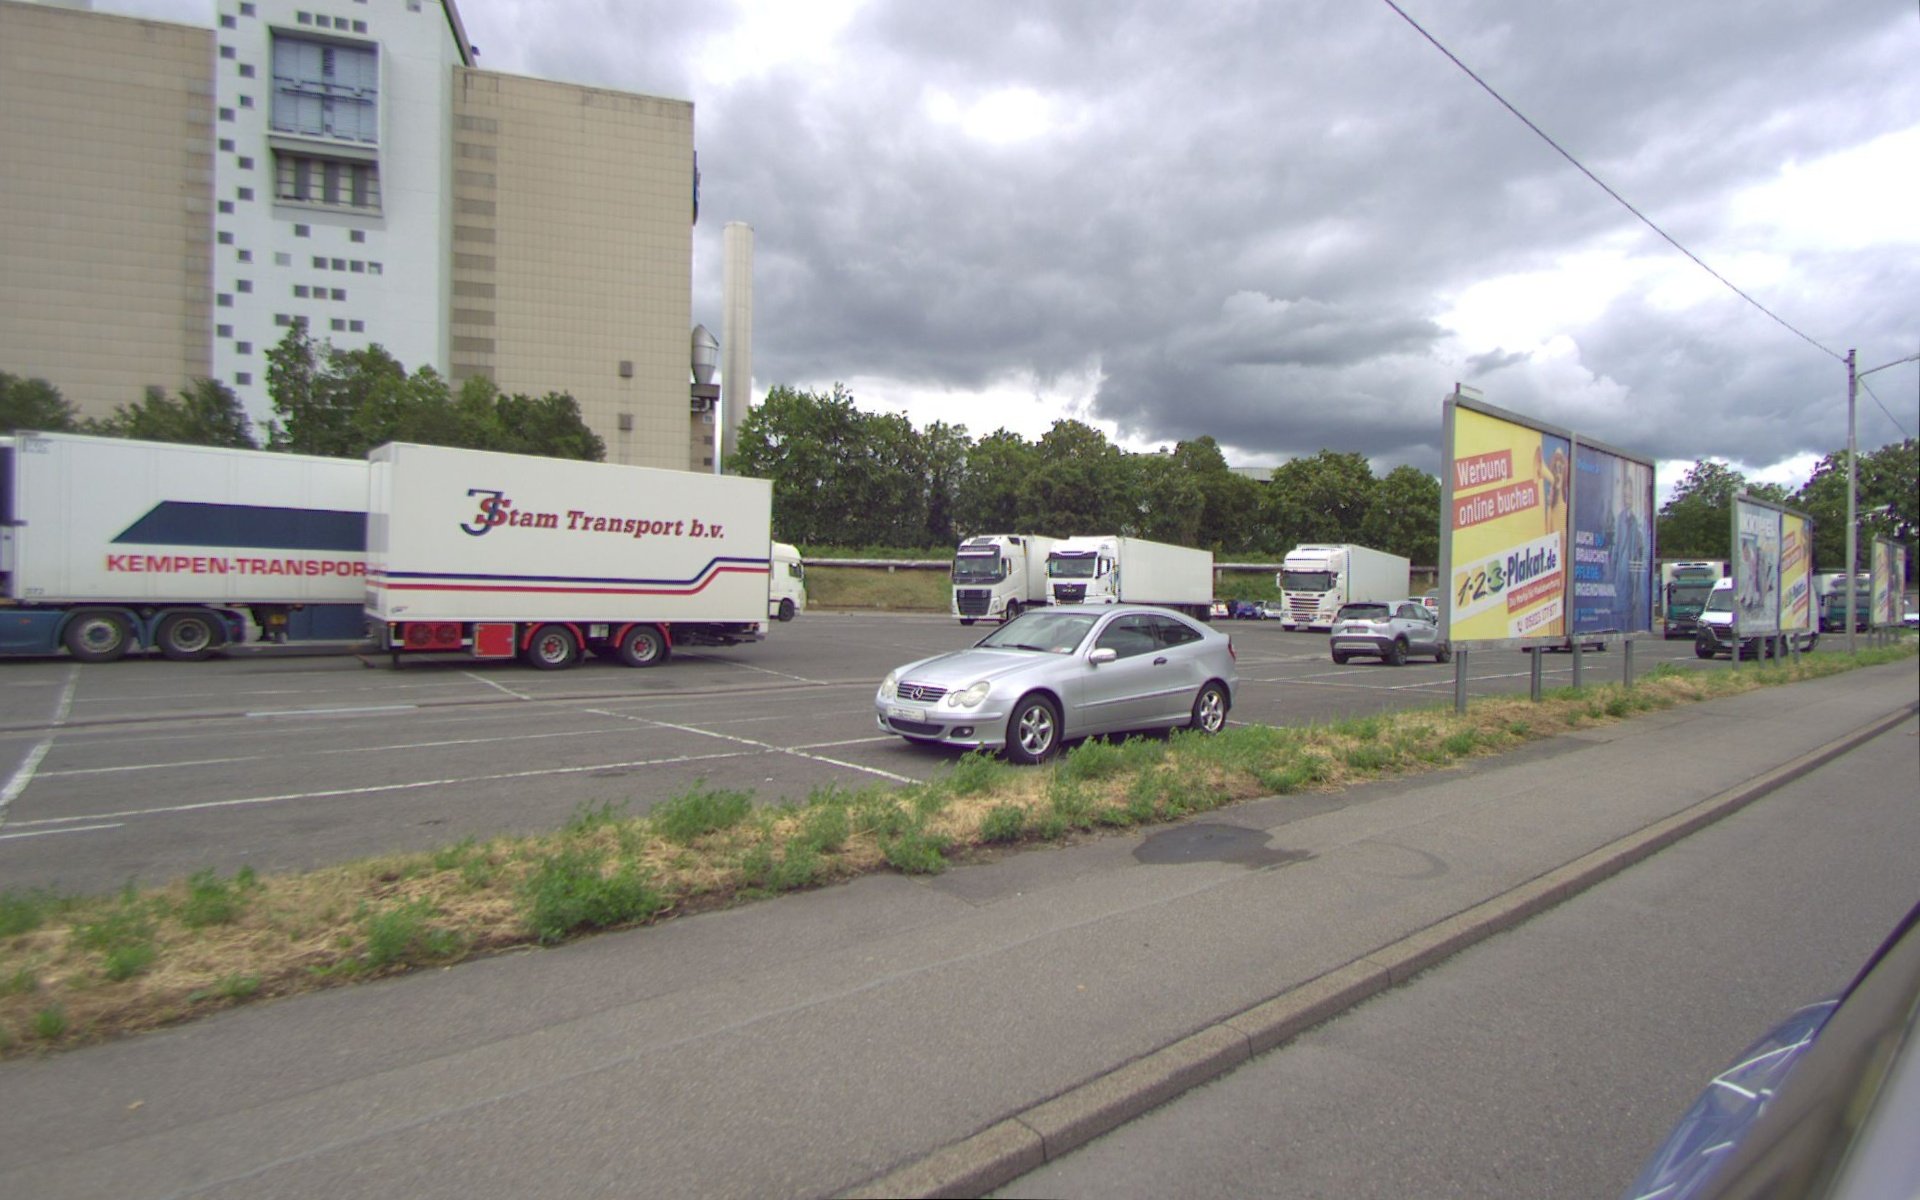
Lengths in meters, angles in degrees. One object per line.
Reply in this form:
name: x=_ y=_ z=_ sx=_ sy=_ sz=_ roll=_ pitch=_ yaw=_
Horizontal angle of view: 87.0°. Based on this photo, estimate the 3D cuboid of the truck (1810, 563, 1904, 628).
truck: x=56.039 y=-0.285 z=63.465 sx=2.808 sy=3.758 sz=9.002 roll=1 pitch=0 yaw=31

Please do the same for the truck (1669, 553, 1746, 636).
truck: x=38.994 y=-0.300 z=53.011 sx=2.856 sy=4.064 sz=6.673 roll=2 pitch=1 yaw=34

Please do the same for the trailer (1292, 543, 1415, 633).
trailer: x=20.864 y=-0.614 z=52.925 sx=2.822 sy=4.146 sz=13.226 roll=2 pitch=1 yaw=35

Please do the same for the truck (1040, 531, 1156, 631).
truck: x=6.336 y=-0.847 z=45.574 sx=2.596 sy=4.146 sz=6.679 roll=2 pitch=1 yaw=32

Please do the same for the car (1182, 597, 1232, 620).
car: x=18.074 y=0.602 z=74.190 sx=1.958 sy=1.629 sz=4.228 roll=1 pitch=1 yaw=-11

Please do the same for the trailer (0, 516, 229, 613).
trailer: x=-45.009 y=-1.693 z=53.314 sx=3.566 sy=4.225 sz=18.538 roll=1 pitch=0 yaw=-13

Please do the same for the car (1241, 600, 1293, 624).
car: x=22.883 y=0.858 z=75.620 sx=1.958 sy=1.629 sz=4.228 roll=1 pitch=1 yaw=-11

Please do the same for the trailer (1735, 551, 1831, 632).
trailer: x=47.467 y=-0.491 z=58.725 sx=2.820 sy=4.146 sz=13.236 roll=2 pitch=1 yaw=33

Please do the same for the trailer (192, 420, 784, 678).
trailer: x=-8.806 y=-0.836 z=20.102 sx=10.214 sy=4.016 sz=2.966 roll=0 pitch=2 yaw=-38

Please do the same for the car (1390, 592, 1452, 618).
car: x=34.906 y=0.337 z=76.826 sx=1.959 sy=1.916 sz=4.728 roll=1 pitch=0 yaw=-9

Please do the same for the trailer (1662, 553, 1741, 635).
trailer: x=42.317 y=-0.356 z=58.072 sx=2.820 sy=4.146 sz=13.236 roll=2 pitch=1 yaw=33

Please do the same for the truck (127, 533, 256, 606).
truck: x=-47.167 y=-1.805 z=62.431 sx=3.634 sy=4.225 sz=7.271 roll=1 pitch=0 yaw=-13

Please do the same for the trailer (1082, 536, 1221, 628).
trailer: x=10.048 y=-0.860 z=51.556 sx=2.596 sy=4.146 sz=12.302 roll=2 pitch=1 yaw=32

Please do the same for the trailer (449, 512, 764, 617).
trailer: x=-14.929 y=-1.364 z=44.752 sx=3.620 sy=3.960 sz=13.562 roll=1 pitch=0 yaw=35

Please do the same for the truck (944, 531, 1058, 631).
truck: x=1.931 y=-0.846 z=45.141 sx=2.596 sy=4.146 sz=5.590 roll=2 pitch=1 yaw=32

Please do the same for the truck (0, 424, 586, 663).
truck: x=-14.552 y=-1.006 z=20.423 sx=12.839 sy=4.016 sz=3.081 roll=0 pitch=2 yaw=-41

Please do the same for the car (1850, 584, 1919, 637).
car: x=69.072 y=0.738 z=73.956 sx=3.301 sy=3.653 sz=8.607 roll=1 pitch=0 yaw=21

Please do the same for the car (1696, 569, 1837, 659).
car: x=24.283 y=0.376 z=30.383 sx=5.974 sy=2.446 sz=2.091 roll=0 pitch=0 yaw=-39

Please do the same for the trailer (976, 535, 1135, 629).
trailer: x=5.108 y=-0.850 z=50.303 sx=2.596 sy=4.146 sz=12.302 roll=2 pitch=1 yaw=32

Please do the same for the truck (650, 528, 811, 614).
truck: x=-11.186 y=-1.350 z=50.041 sx=3.610 sy=3.928 sz=7.160 roll=1 pitch=0 yaw=36

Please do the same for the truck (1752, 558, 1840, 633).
truck: x=43.996 y=-0.259 z=53.448 sx=2.856 sy=3.675 sz=6.673 roll=2 pitch=1 yaw=34

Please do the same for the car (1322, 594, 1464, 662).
car: x=11.036 y=0.674 z=25.706 sx=3.930 sy=1.591 sz=1.767 roll=0 pitch=-2 yaw=-41

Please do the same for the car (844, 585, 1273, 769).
car: x=1.174 y=0.623 z=10.336 sx=4.480 sy=1.482 sz=1.776 roll=0 pitch=0 yaw=-41

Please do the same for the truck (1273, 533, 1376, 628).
truck: x=17.381 y=-0.907 z=47.971 sx=2.857 sy=4.146 sz=6.670 roll=2 pitch=1 yaw=35

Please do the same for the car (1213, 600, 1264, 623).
car: x=20.603 y=0.823 z=75.005 sx=1.958 sy=1.629 sz=4.228 roll=1 pitch=1 yaw=-11
